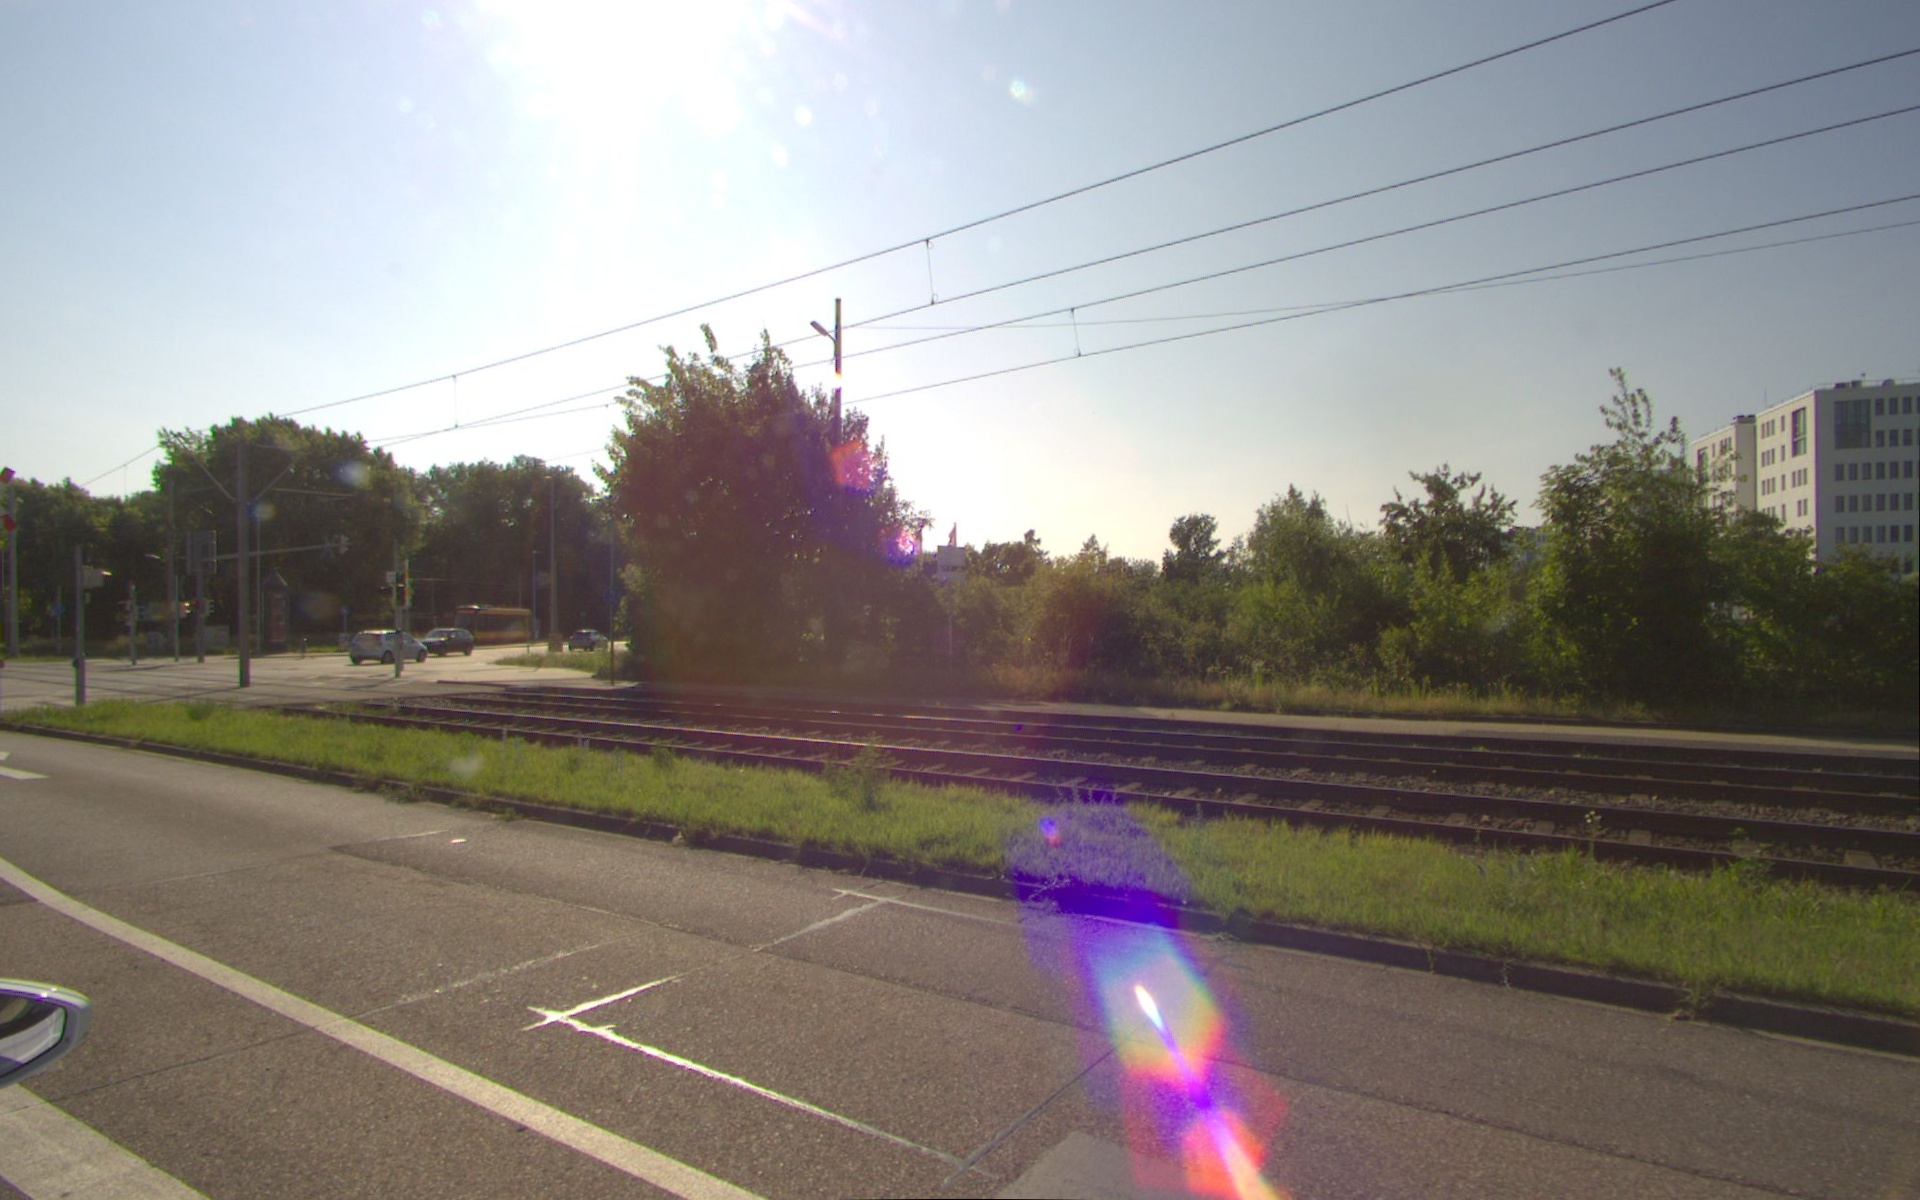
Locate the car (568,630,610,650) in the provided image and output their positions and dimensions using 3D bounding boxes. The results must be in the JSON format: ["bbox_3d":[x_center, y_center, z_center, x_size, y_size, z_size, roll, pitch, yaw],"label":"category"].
[{"bbox_3d":[-26.480,2.839,71.590,1.575,1.401,3.530,0,-1,3],"label":"car"}]

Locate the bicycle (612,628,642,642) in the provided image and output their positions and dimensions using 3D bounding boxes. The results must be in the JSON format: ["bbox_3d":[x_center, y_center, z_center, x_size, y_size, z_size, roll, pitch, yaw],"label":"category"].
[{"bbox_3d":[-37.798,3.967,113.664,3.168,1.472,1.131,-1,-2,10],"label":"bicycle"}]

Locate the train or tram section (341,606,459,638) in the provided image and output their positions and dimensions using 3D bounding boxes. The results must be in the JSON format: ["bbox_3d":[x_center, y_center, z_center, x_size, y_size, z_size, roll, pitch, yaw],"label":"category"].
[{"bbox_3d":[-65.280,2.597,116.839,11.992,3.626,3.055,0,-1,-1],"label":"train or tram section"}]

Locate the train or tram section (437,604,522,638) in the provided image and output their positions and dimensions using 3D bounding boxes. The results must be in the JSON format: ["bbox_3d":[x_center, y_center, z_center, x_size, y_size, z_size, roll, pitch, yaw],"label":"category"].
[{"bbox_3d":[-54.347,2.393,113.030,12.062,3.626,3.037,-1,-1,34],"label":"train or tram section"}]

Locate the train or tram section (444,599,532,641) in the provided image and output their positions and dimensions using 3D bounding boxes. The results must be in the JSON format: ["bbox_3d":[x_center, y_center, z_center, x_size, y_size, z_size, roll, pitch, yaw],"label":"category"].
[{"bbox_3d":[-43.270,1.883,92.309,2.994,3.626,11.854,0,-1,-3],"label":"train or tram section"}]

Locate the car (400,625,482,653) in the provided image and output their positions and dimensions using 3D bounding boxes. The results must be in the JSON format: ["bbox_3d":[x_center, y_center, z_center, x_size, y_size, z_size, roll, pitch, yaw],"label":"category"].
[{"bbox_3d":[-30.822,2.274,59.644,2.005,1.583,4.863,0,-1,5],"label":"car"}]

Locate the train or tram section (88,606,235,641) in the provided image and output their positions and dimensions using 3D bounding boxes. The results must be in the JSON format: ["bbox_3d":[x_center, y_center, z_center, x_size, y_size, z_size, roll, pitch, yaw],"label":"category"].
[{"bbox_3d":[-87.775,2.559,110.488,12.248,3.626,3.042,0,-1,-27],"label":"train or tram section"}]

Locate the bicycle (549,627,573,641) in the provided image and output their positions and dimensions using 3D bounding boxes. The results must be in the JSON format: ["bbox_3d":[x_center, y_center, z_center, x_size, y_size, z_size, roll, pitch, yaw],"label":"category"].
[{"bbox_3d":[-47.830,4.062,120.104,2.562,1.735,0.795,0,-1,-3],"label":"bicycle"}]

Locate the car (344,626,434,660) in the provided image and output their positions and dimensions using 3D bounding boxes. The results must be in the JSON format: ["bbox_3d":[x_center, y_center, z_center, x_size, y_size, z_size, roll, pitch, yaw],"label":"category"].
[{"bbox_3d":[-28.134,2.108,49.487,1.820,1.583,4.205,0,-1,5],"label":"car"}]

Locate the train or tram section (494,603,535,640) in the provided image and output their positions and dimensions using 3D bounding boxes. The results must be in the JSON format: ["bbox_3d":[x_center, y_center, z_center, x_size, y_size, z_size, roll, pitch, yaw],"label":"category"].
[{"bbox_3d":[-46.464,2.205,104.176,3.009,3.626,12.176,0,-1,-28],"label":"train or tram section"}]
